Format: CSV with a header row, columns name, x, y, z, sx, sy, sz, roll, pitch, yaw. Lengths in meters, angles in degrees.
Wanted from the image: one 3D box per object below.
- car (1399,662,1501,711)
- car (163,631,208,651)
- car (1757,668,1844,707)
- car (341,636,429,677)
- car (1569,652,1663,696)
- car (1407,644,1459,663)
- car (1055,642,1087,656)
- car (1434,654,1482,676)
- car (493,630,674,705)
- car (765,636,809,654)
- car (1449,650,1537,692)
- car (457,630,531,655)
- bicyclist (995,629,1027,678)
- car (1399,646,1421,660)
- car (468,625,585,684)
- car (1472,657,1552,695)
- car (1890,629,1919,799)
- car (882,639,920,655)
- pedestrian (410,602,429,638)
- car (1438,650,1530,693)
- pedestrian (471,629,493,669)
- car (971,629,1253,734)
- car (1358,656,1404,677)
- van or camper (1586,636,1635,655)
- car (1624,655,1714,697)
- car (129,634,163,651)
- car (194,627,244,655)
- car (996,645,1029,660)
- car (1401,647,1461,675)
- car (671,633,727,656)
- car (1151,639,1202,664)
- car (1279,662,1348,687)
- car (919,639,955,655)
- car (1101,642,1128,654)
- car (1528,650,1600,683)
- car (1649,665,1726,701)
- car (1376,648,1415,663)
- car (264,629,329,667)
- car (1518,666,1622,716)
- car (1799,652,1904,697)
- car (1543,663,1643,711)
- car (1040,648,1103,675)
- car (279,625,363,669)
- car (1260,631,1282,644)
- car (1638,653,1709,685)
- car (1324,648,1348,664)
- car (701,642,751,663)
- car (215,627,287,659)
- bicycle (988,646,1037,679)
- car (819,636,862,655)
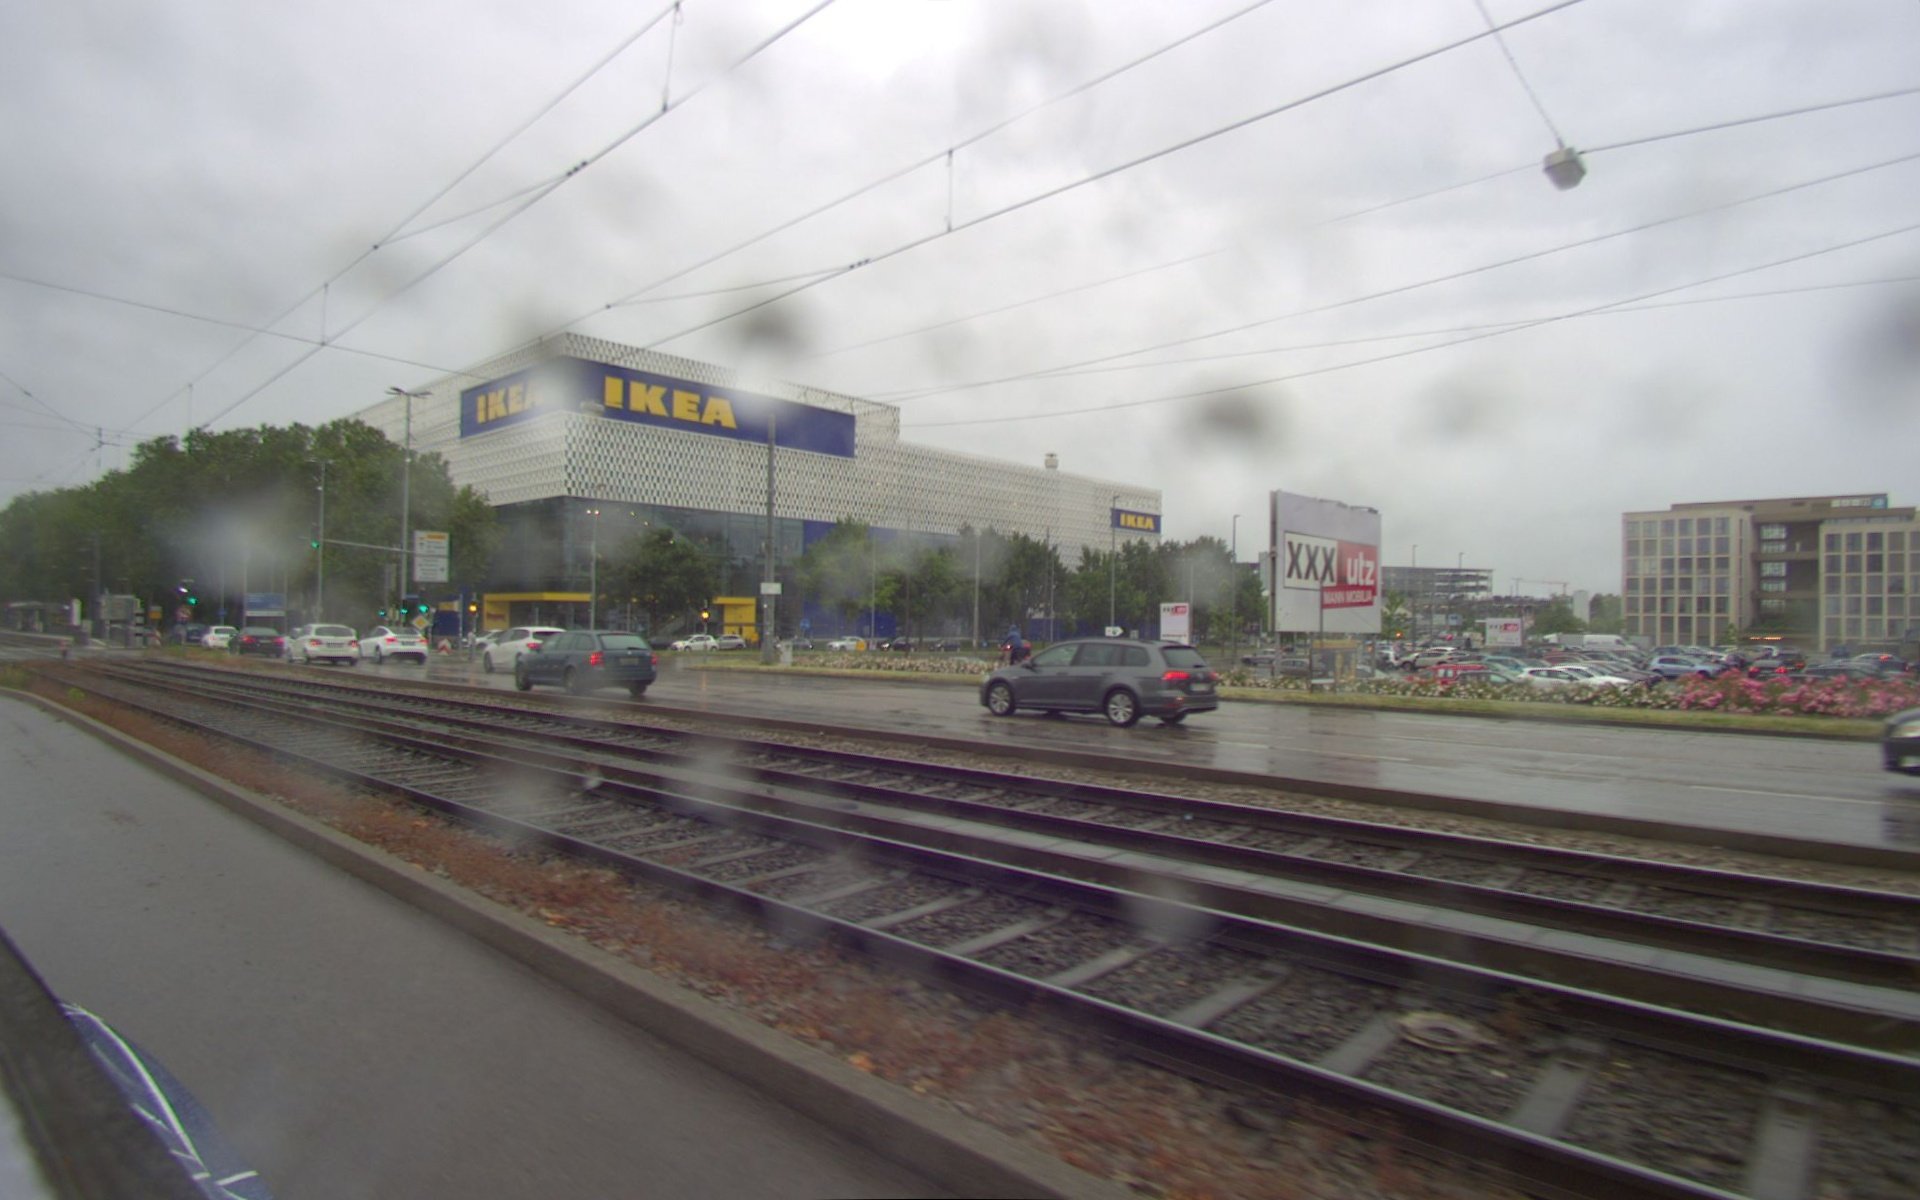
name,x,y,z,sx,sy,sz,roll,pitch,yaw
car,23.268,4.063,48.140,3.997,2.029,1.973,-1,0,40
car,-51.657,2.751,67.497,4.462,1.259,1.693,-3,-1,44
car,51.024,5.279,61.538,3.996,2.029,1.974,0,0,40
car,-25.310,2.440,44.485,4.840,1.618,1.887,-2,1,42
car,34.898,3.902,53.909,3.997,2.029,1.973,0,0,40
car,43.493,4.916,93.170,4.007,1.573,1.740,0,0,43
car,13.724,6.031,125.162,1.710,1.417,4.106,0,0,45
car,39.792,5.201,80.868,3.166,1.535,1.552,0,0,40
car,-8.694,1.480,23.182,4.672,1.468,1.972,0,-3,43
car,-15.982,4.168,93.711,1.603,1.417,3.769,0,0,45
car,29.374,3.889,55.817,3.997,2.029,1.973,-1,0,40
car,-32.808,2.991,71.358,1.820,1.552,4.399,-3,-2,44
bicyclist,1.711,1.777,33.936,0.792,1.601,0.664,-1,0,43
car,74.200,8.662,166.905,2.001,2.029,3.943,0,0,44
car,-14.847,1.788,34.557,4.694,1.848,1.971,-1,-2,44
car,33.837,4.646,62.060,3.997,2.029,1.973,-1,0,40
car,11.454,1.133,8.807,4.909,1.630,1.837,-1,-4,44
car,-5.986,4.784,103.477,1.603,1.417,3.769,0,0,45
pedestrian,-34.906,1.303,65.361,0.906,2.261,0.992,-2,2,-34
car,27.994,3.794,54.100,3.997,2.029,1.973,-1,0,40
pedestrian,-24.914,2.534,52.765,0.856,2.029,0.688,-1,0,35
car,2.554,1.332,17.694,4.553,1.528,1.942,0,-3,42
car,34.976,5.516,84.114,3.166,1.535,1.552,0,0,40
van or camper,81.137,5.636,126.244,4.984,2.129,1.764,0,0,37
car,39.751,4.206,56.763,3.997,2.029,1.973,0,0,40
car,-65.397,3.421,81.278,4.049,1.259,1.693,-3,-1,45
car,-43.235,2.379,59.011,4.049,1.547,1.693,-3,-1,45
car,6.078,6.028,116.721,1.603,1.417,3.928,0,0,45
car,36.690,4.745,78.864,3.900,1.919,1.800,0,0,38
car,-21.413,3.629,83.061,2.000,1.615,4.051,0,0,43
car,19.430,4.610,90.861,3.996,2.029,1.974,0,0,40
car,21.839,4.582,62.543,3.721,1.274,1.532,0,0,40
car,-2.391,4.942,106.981,1.603,1.417,3.769,0,0,45
car,20.020,6.190,131.219,1.603,1.417,3.769,0,0,45
car,41.822,4.558,70.144,3.997,2.029,1.973,-1,0,40
car,47.675,5.403,66.337,3.996,2.029,1.974,0,0,40
car,47.844,6.079,111.180,1.760,1.417,3.570,-1,0,-44
car,-37.217,2.660,56.741,4.791,1.916,1.972,0,0,43
car,29.239,4.328,48.521,3.997,2.029,1.973,-1,0,40
car,45.950,3.792,52.274,3.997,2.029,1.973,0,0,40
car,31.593,4.293,50.572,3.997,2.029,1.973,-1,0,40
car,7.688,4.223,70.151,3.997,1.616,1.782,-1,0,40
car,-25.333,1.843,40.076,4.329,1.585,1.852,-3,-1,44
car,51.689,6.233,168.182,2.001,2.029,3.943,0,0,44
car,50.586,4.854,71.812,3.996,2.029,1.974,0,0,40
car,56.172,8.369,151.050,2.001,2.029,3.943,0,0,44
car,-20.465,4.587,88.738,1.761,1.630,3.960,0,0,44
car,-35.161,2.152,50.126,5.084,1.434,1.901,-3,-6,44
bicycle,1.743,2.070,33.916,1.556,1.023,0.661,-1,0,42
car,-11.525,4.384,97.996,1.683,1.686,3.955,0,0,45
